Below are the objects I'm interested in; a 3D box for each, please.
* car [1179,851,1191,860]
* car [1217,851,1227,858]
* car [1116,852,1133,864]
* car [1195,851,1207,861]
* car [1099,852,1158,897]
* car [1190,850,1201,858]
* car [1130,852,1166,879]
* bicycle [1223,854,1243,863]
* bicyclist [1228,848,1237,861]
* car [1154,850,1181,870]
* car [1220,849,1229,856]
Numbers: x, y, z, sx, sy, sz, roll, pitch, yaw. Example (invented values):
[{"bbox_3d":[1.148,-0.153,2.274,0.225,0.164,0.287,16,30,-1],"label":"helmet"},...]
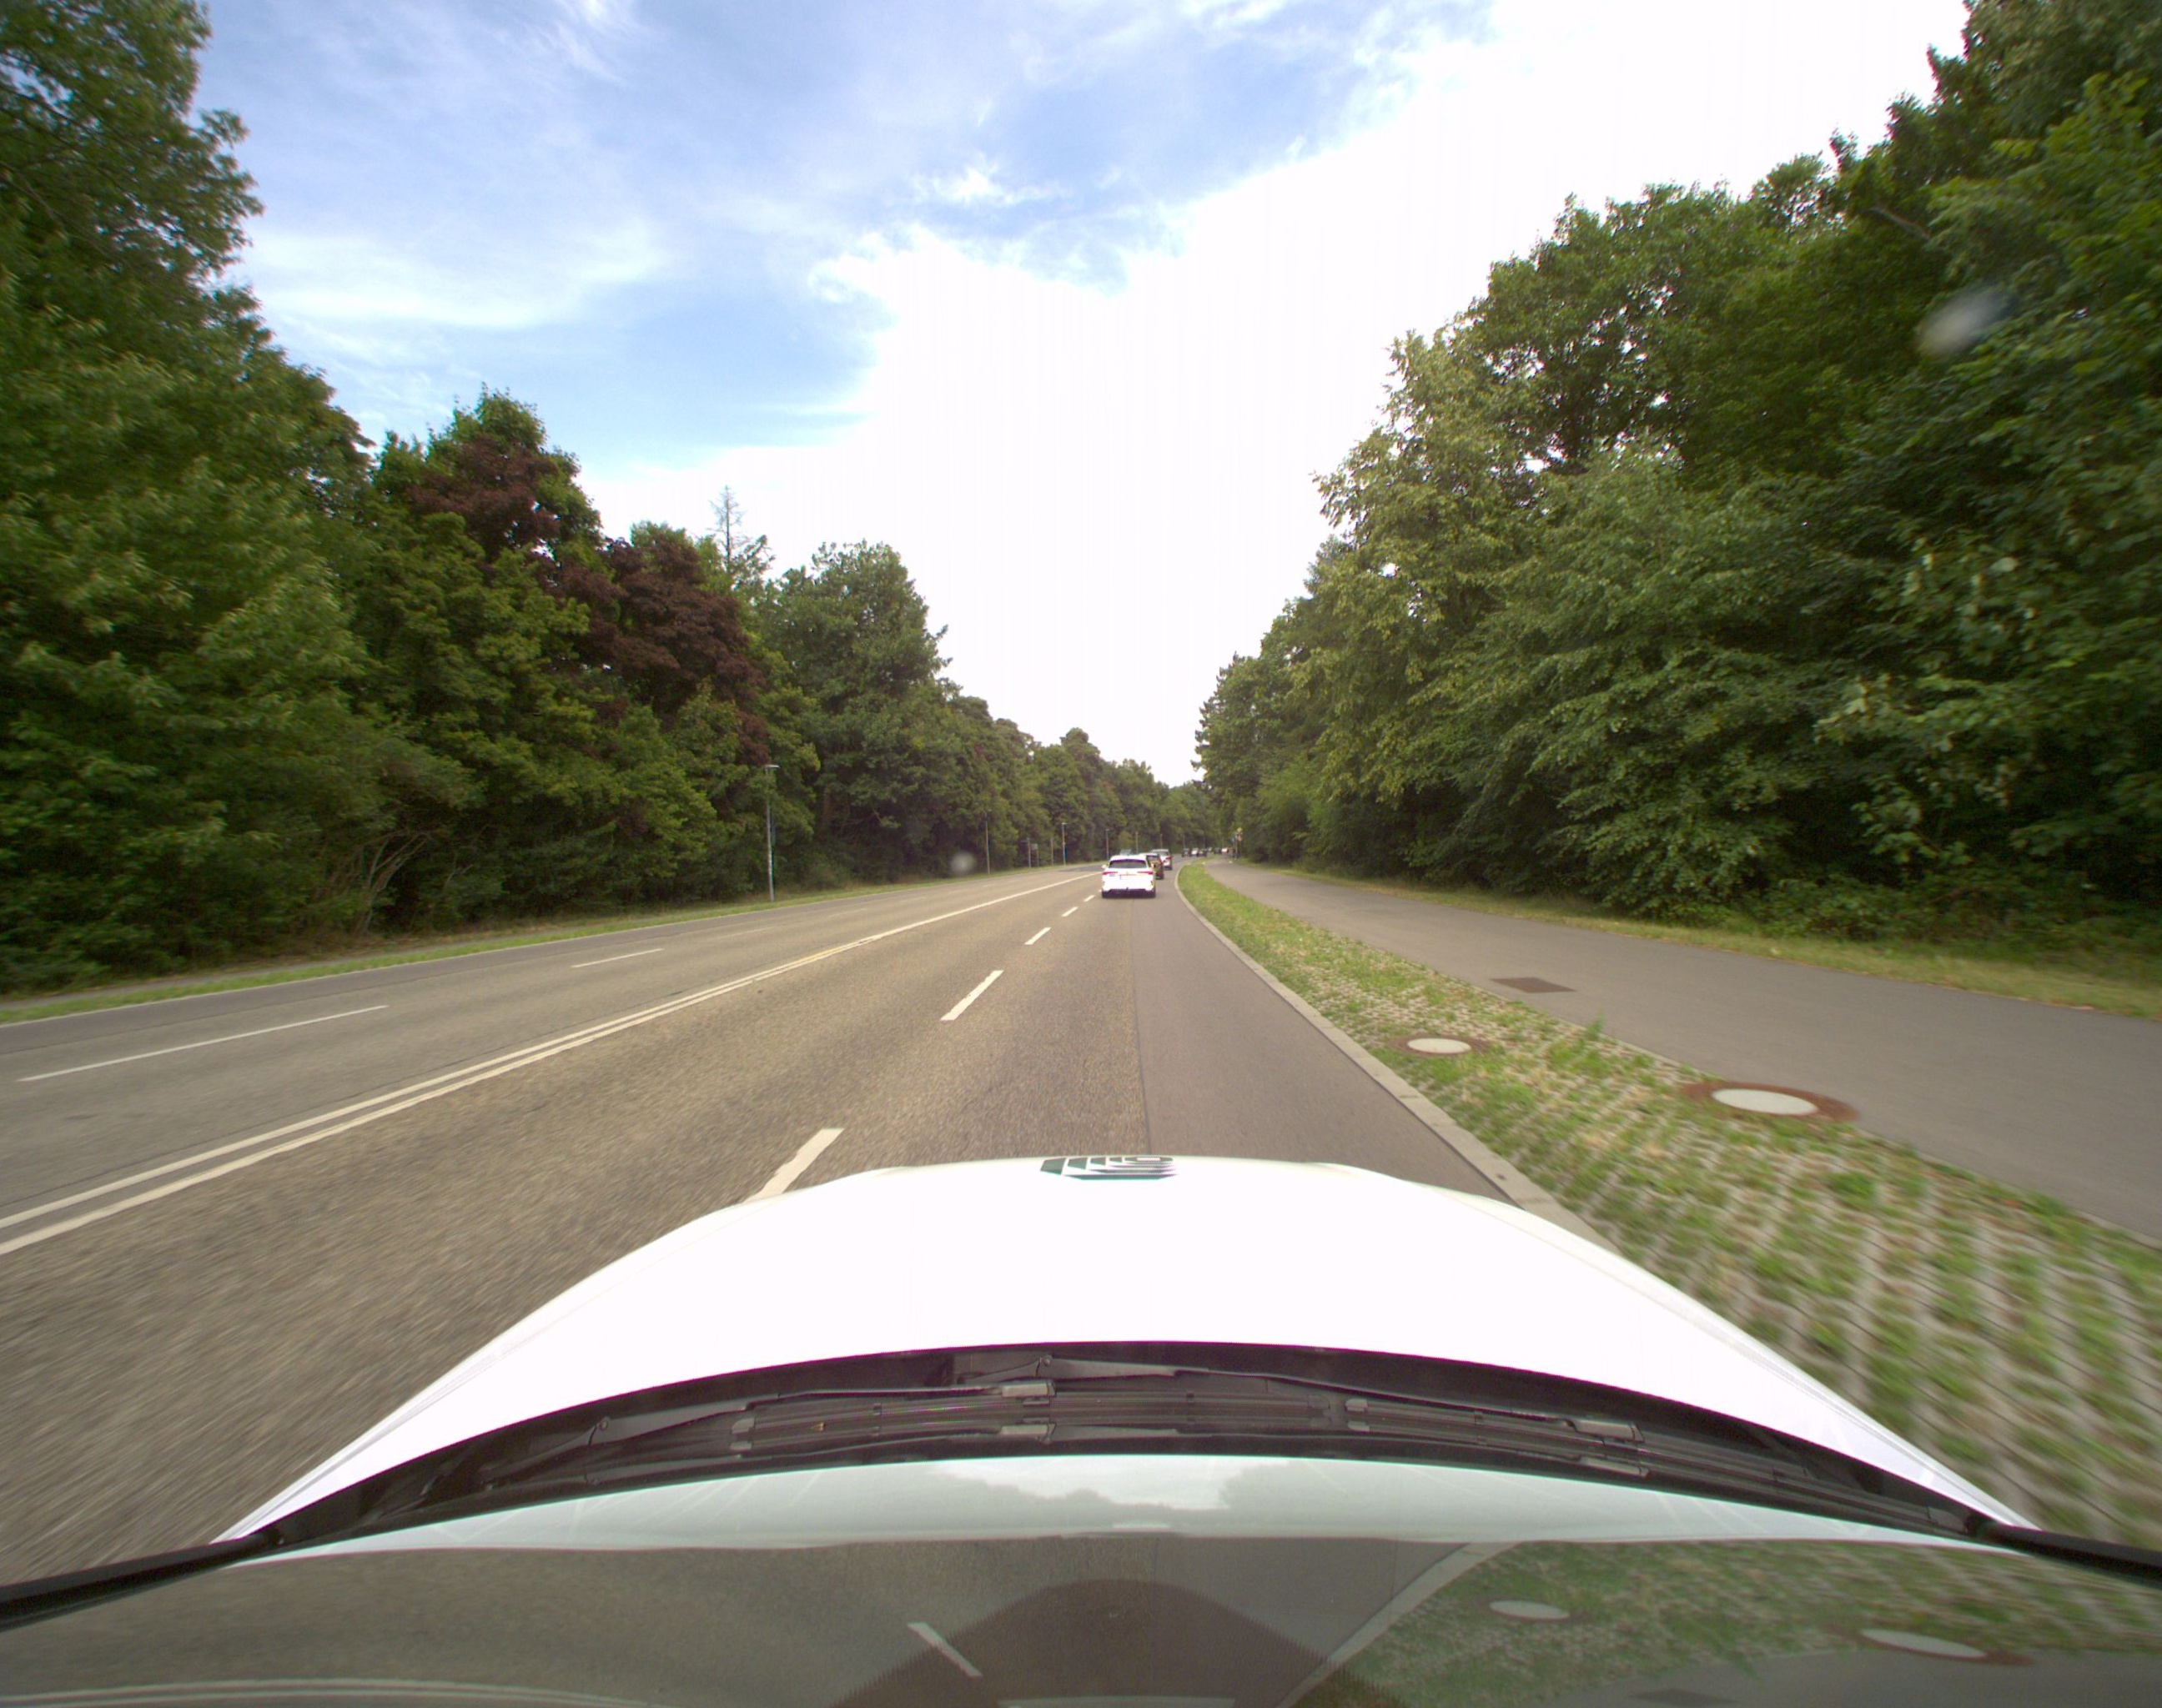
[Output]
[{"bbox_3d":[20.960,0.364,163.864,1.980,1.783,4.013,0,-1,12],"label":"car"},{"bbox_3d":[35.273,0.063,203.398,1.979,1.783,4.016,0,-1,15],"label":"car"},{"bbox_3d":[6.699,0.659,124.057,1.981,1.791,4.761,0,-1,10],"label":"car"},{"bbox_3d":[23.389,0.395,158.722,1.979,1.783,4.015,0,-1,14],"label":"car"},{"bbox_3d":[1.584,0.672,28.162,1.829,1.410,4.492,-1,-1,2],"label":"car"},{"bbox_3d":[25.437,0.066,181.152,1.980,1.783,4.013,0,-1,13],"label":"car"},{"bbox_3d":[3.781,0.634,45.298,1.625,1.420,4.010,0,-1,9],"label":"car"},{"bbox_3d":[17.469,0.479,93.666,2.164,0.994,0.712,-1,0,4],"label":"bicycle"},{"bbox_3d":[17.450,0.040,93.659,0.894,1.470,0.712,-1,-1,5],"label":"bicyclist"},{"bbox_3d":[7.147,0.512,66.982,1.982,1.607,4.010,0,-1,9],"label":"car"},{"bbox_3d":[43.319,-0.478,245.823,1.873,1.816,4.018,0,-1,18],"label":"car"}]
